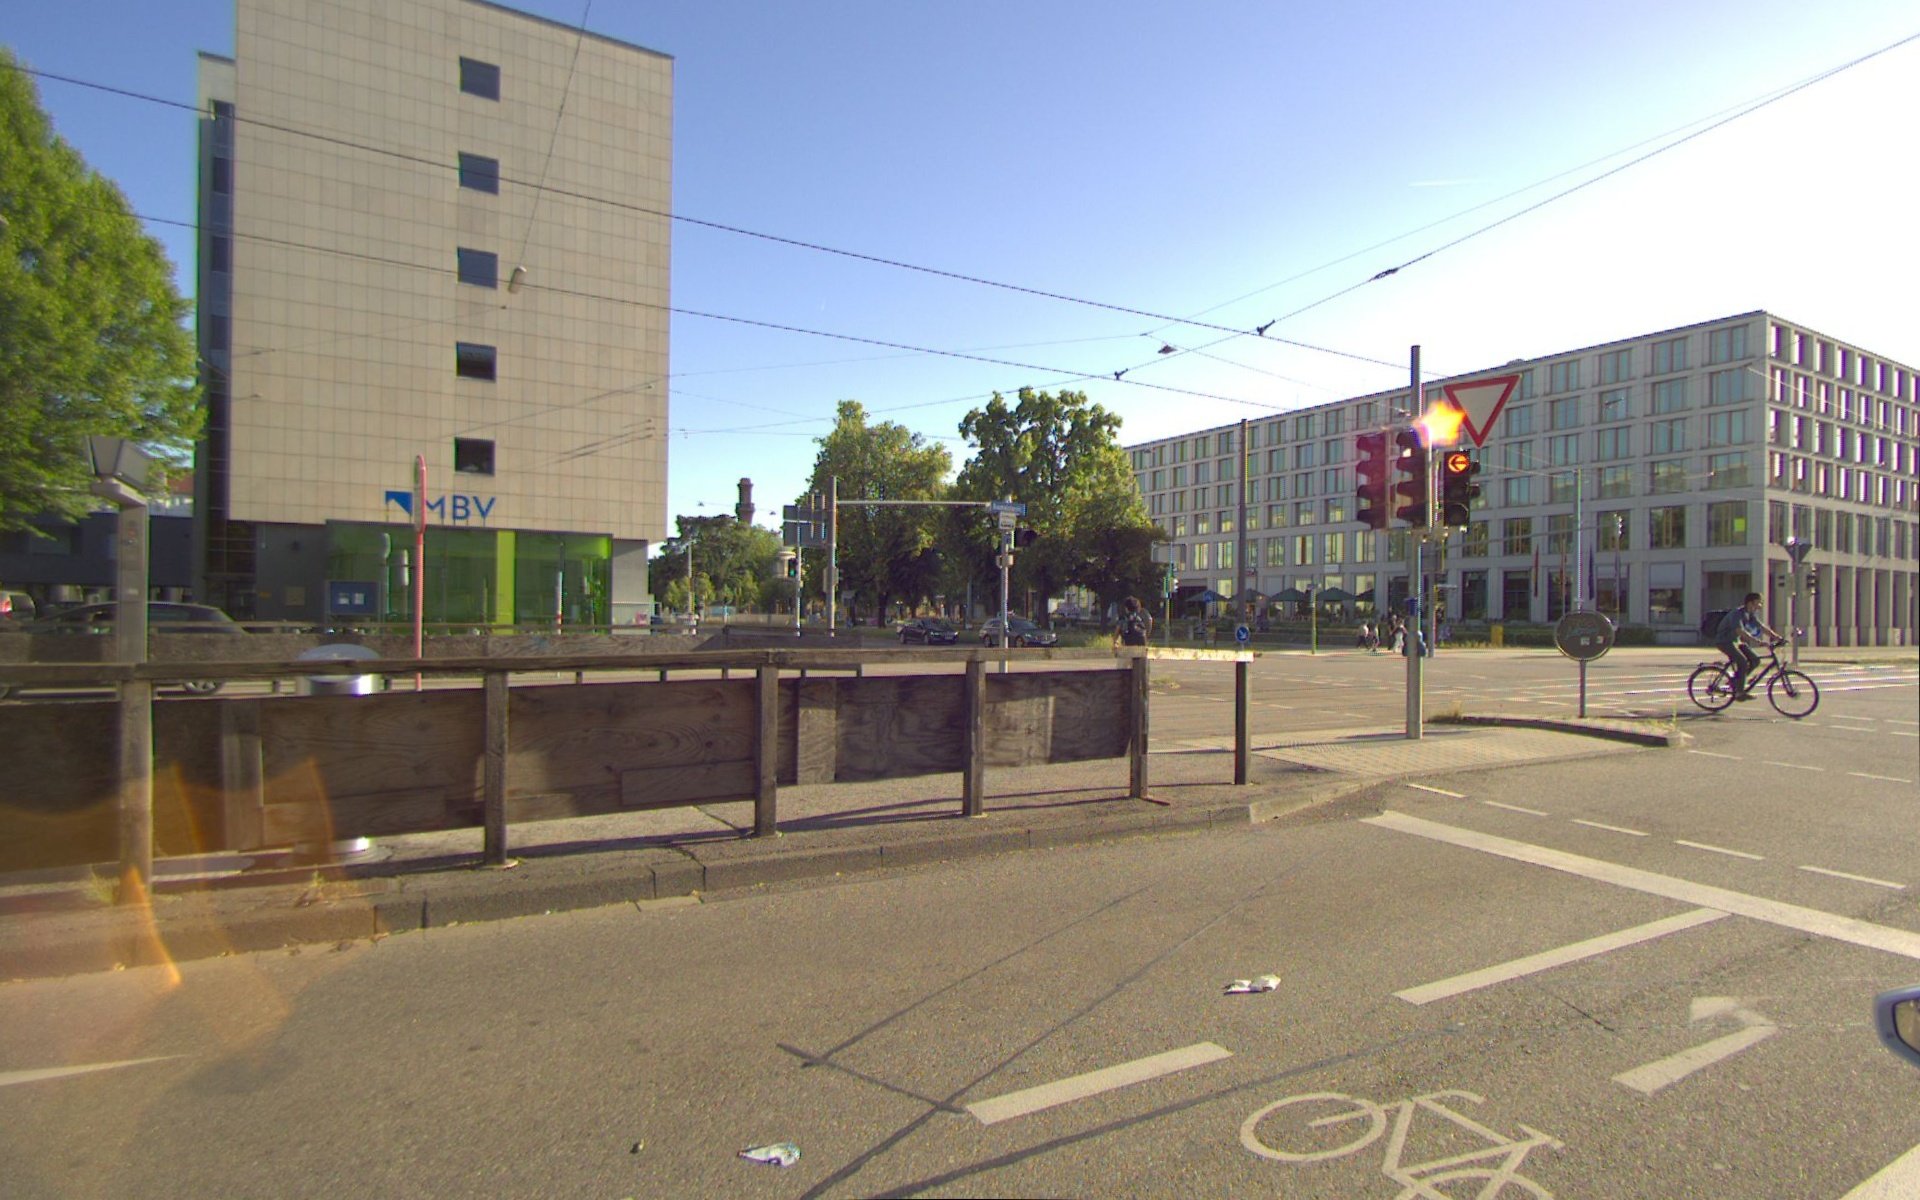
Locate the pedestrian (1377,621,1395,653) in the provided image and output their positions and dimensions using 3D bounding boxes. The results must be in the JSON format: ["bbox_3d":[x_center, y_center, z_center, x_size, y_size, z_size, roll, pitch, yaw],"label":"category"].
[{"bbox_3d":[22.551,1.936,53.163,0.615,1.666,0.690,1,-1,-34],"label":"pedestrian"}]

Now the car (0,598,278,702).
[{"bbox_3d":[-13.404,0.767,16.159,3.963,1.508,1.631,2,-1,-37],"label":"car"}]

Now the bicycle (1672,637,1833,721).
[{"bbox_3d":[12.443,1.203,15.840,0.756,1.174,1.867,-1,0,-25],"label":"bicycle"}]

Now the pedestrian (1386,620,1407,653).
[{"bbox_3d":[22.356,1.867,51.402,0.615,1.666,0.787,1,-1,-34],"label":"pedestrian"}]

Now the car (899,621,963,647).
[{"bbox_3d":[-1.661,1.861,55.431,1.755,1.311,4.209,1,-1,-30],"label":"car"}]

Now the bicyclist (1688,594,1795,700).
[{"bbox_3d":[12.398,0.717,15.952,0.756,1.616,1.120,-1,0,-25],"label":"bicyclist"}]

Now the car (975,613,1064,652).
[{"bbox_3d":[2.761,1.508,47.746,1.833,1.602,4.486,1,1,-34],"label":"car"}]

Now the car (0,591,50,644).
[{"bbox_3d":[-27.726,0.450,27.802,3.371,1.431,1.562,2,0,-20],"label":"car"}]

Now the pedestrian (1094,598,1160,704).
[{"bbox_3d":[2.828,0.845,17.041,0.819,1.739,0.753,1,-1,-34],"label":"pedestrian"}]

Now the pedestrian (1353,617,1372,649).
[{"bbox_3d":[21.313,1.741,53.163,0.612,1.666,0.692,1,-1,-23],"label":"pedestrian"}]

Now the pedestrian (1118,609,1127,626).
[{"bbox_3d":[15.763,1.712,97.550,0.556,1.691,0.537,2,0,-33],"label":"pedestrian"}]
